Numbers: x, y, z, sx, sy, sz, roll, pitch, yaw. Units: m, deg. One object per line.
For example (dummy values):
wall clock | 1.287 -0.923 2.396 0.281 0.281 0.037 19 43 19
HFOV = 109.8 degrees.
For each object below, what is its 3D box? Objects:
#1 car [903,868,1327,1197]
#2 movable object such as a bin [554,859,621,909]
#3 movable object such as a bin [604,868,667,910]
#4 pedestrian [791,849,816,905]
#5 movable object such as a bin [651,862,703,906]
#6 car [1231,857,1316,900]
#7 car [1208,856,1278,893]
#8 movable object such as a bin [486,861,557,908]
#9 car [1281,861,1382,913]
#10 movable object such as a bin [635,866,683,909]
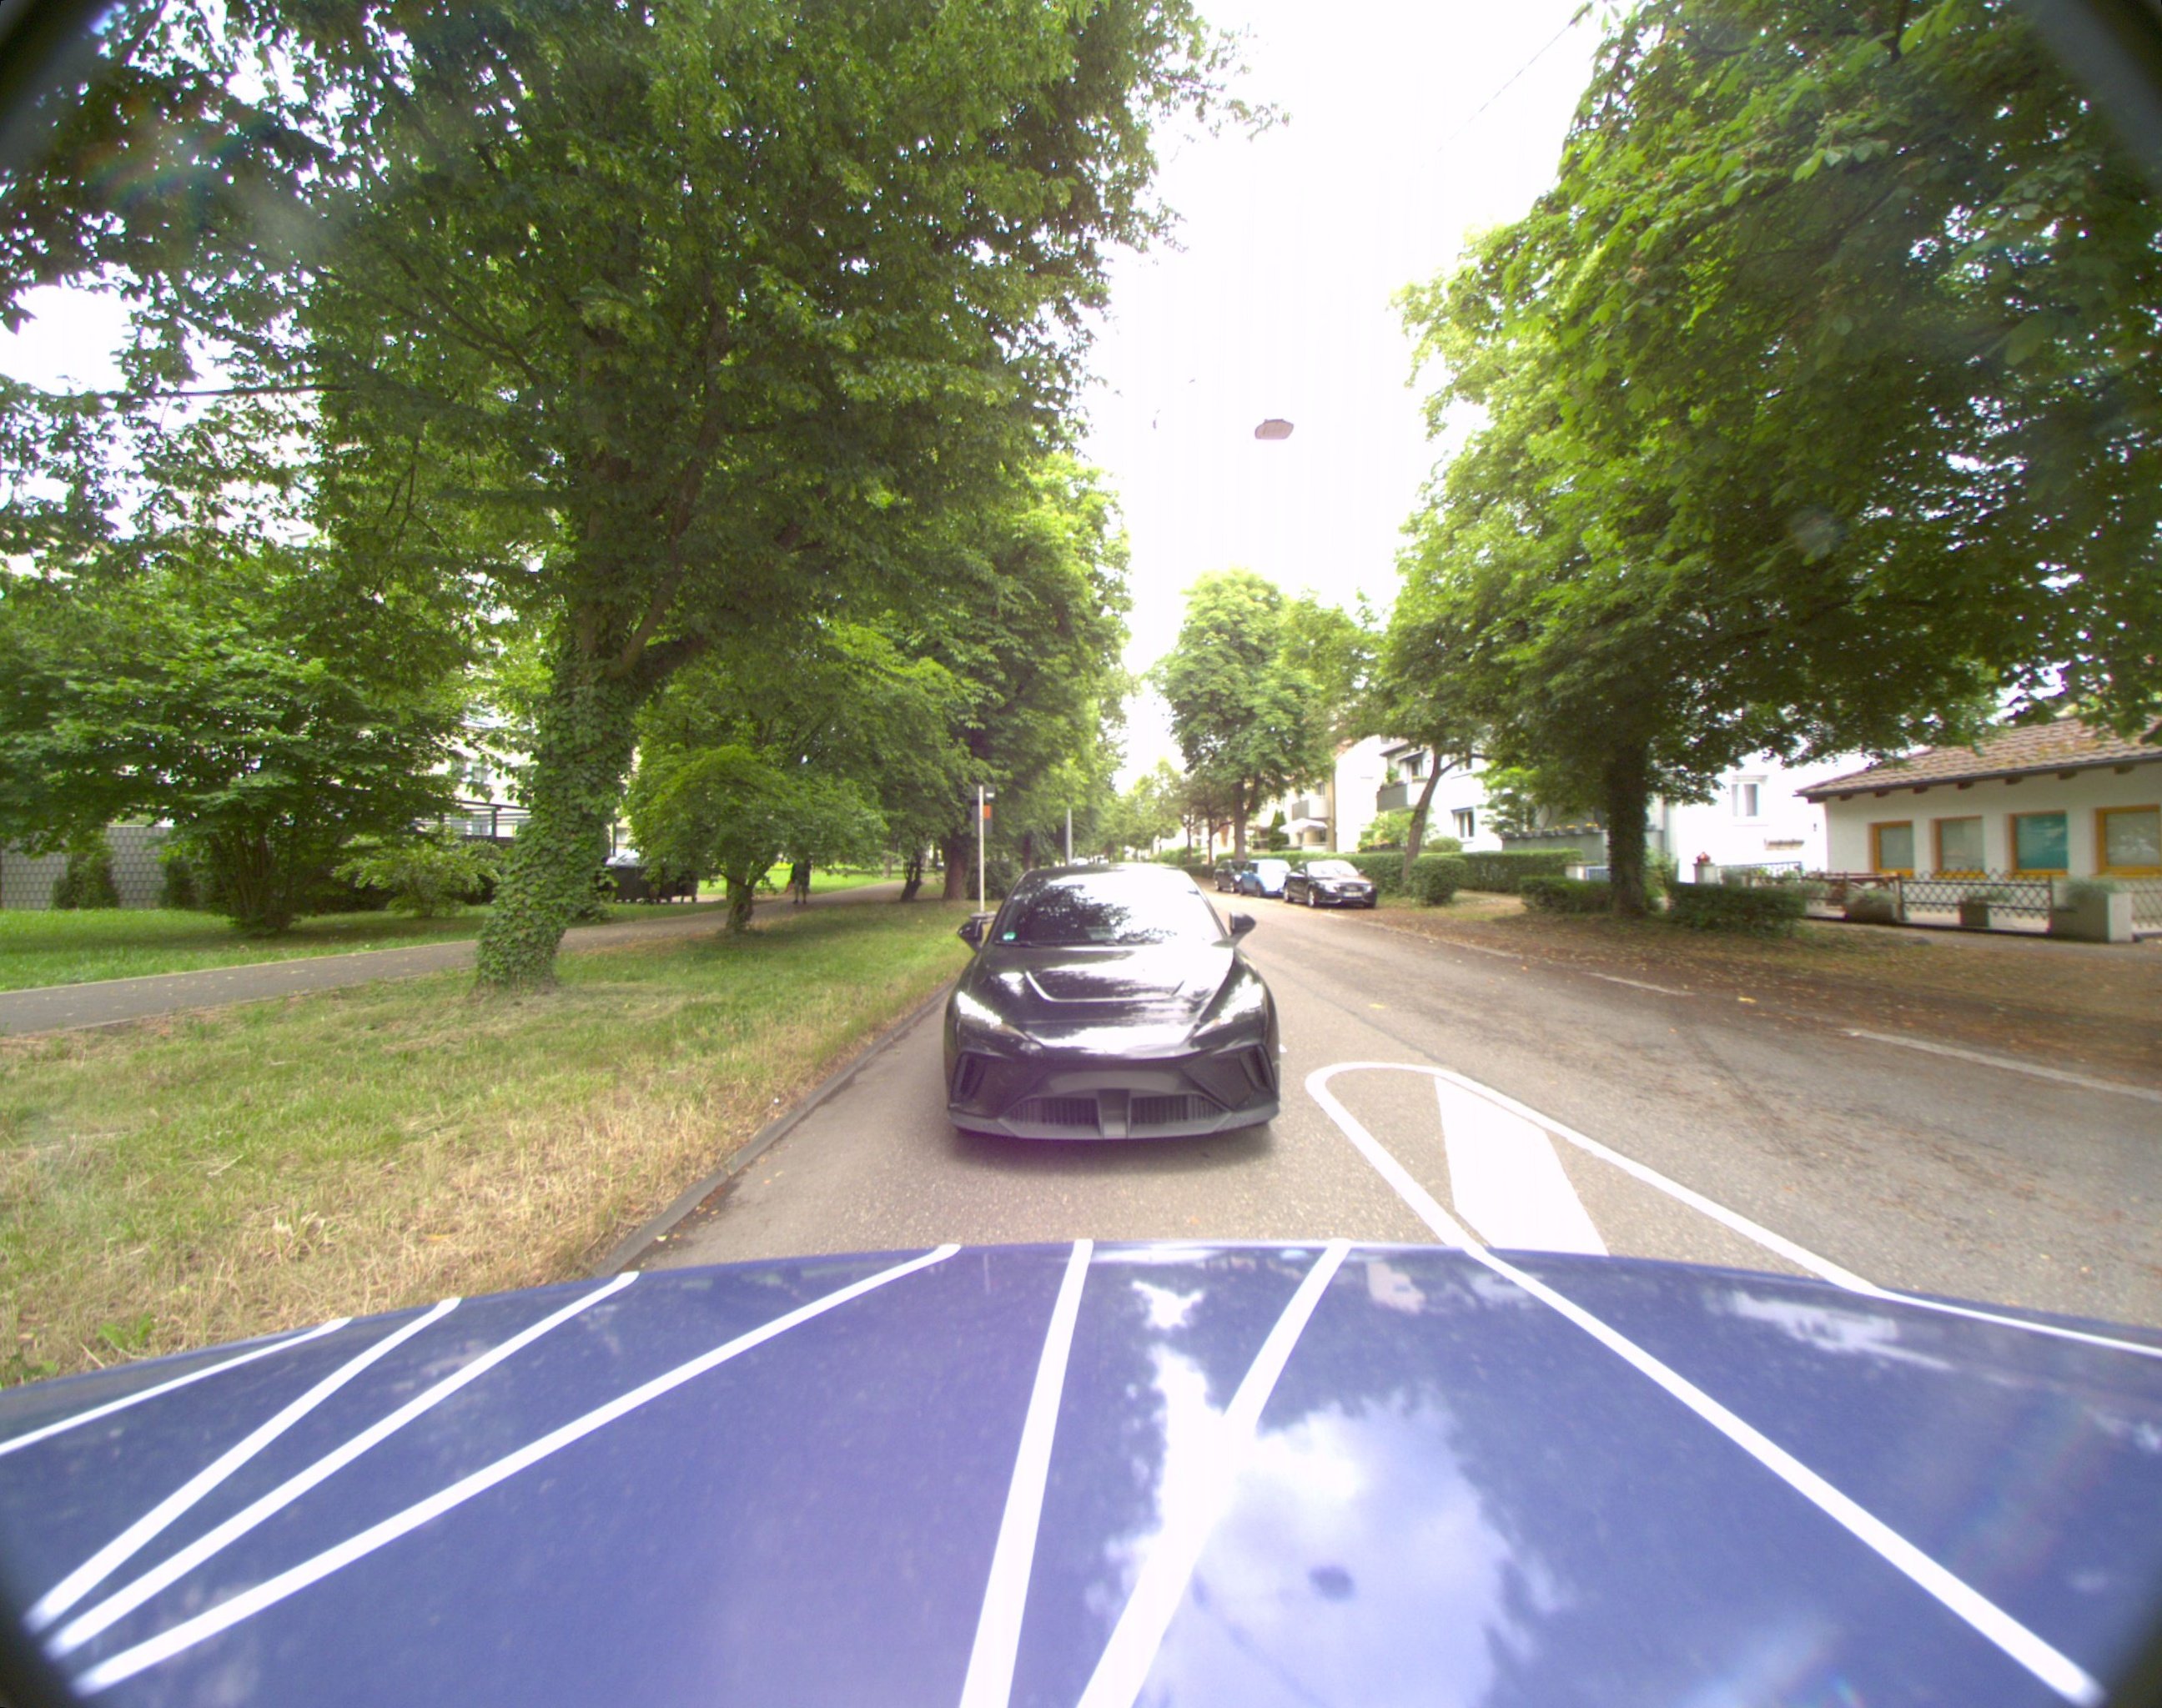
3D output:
car | 0.182 0.891 5.898 1.998 1.491 4.615 0 0 1
movable object such as a bin | -14.578 0.865 22.484 1.194 1.448 1.348 0 0 -8
movable object such as a bin | -13.262 1.022 22.676 1.194 1.213 1.348 0 0 -8
pedestrian | -8.763 0.729 23.994 0.565 1.730 0.570 1 0 0
movable object such as a bin | -13.249 0.981 24.969 1.194 1.405 1.110 0 0 -8
car | 7.200 0.876 28.898 1.889 1.492 4.565 0 0 -3
car | 7.069 0.878 33.652 1.889 1.524 4.565 0 0 -3
movable object such as a bin | -16.520 0.889 22.481 1.194 1.334 1.348 0 0 -8
car | 7.400 0.912 22.877 1.735 1.394 4.172 0 0 1
movable object such as a bin | -13.246 1.041 23.875 1.026 1.296 0.960 0 0 -8
